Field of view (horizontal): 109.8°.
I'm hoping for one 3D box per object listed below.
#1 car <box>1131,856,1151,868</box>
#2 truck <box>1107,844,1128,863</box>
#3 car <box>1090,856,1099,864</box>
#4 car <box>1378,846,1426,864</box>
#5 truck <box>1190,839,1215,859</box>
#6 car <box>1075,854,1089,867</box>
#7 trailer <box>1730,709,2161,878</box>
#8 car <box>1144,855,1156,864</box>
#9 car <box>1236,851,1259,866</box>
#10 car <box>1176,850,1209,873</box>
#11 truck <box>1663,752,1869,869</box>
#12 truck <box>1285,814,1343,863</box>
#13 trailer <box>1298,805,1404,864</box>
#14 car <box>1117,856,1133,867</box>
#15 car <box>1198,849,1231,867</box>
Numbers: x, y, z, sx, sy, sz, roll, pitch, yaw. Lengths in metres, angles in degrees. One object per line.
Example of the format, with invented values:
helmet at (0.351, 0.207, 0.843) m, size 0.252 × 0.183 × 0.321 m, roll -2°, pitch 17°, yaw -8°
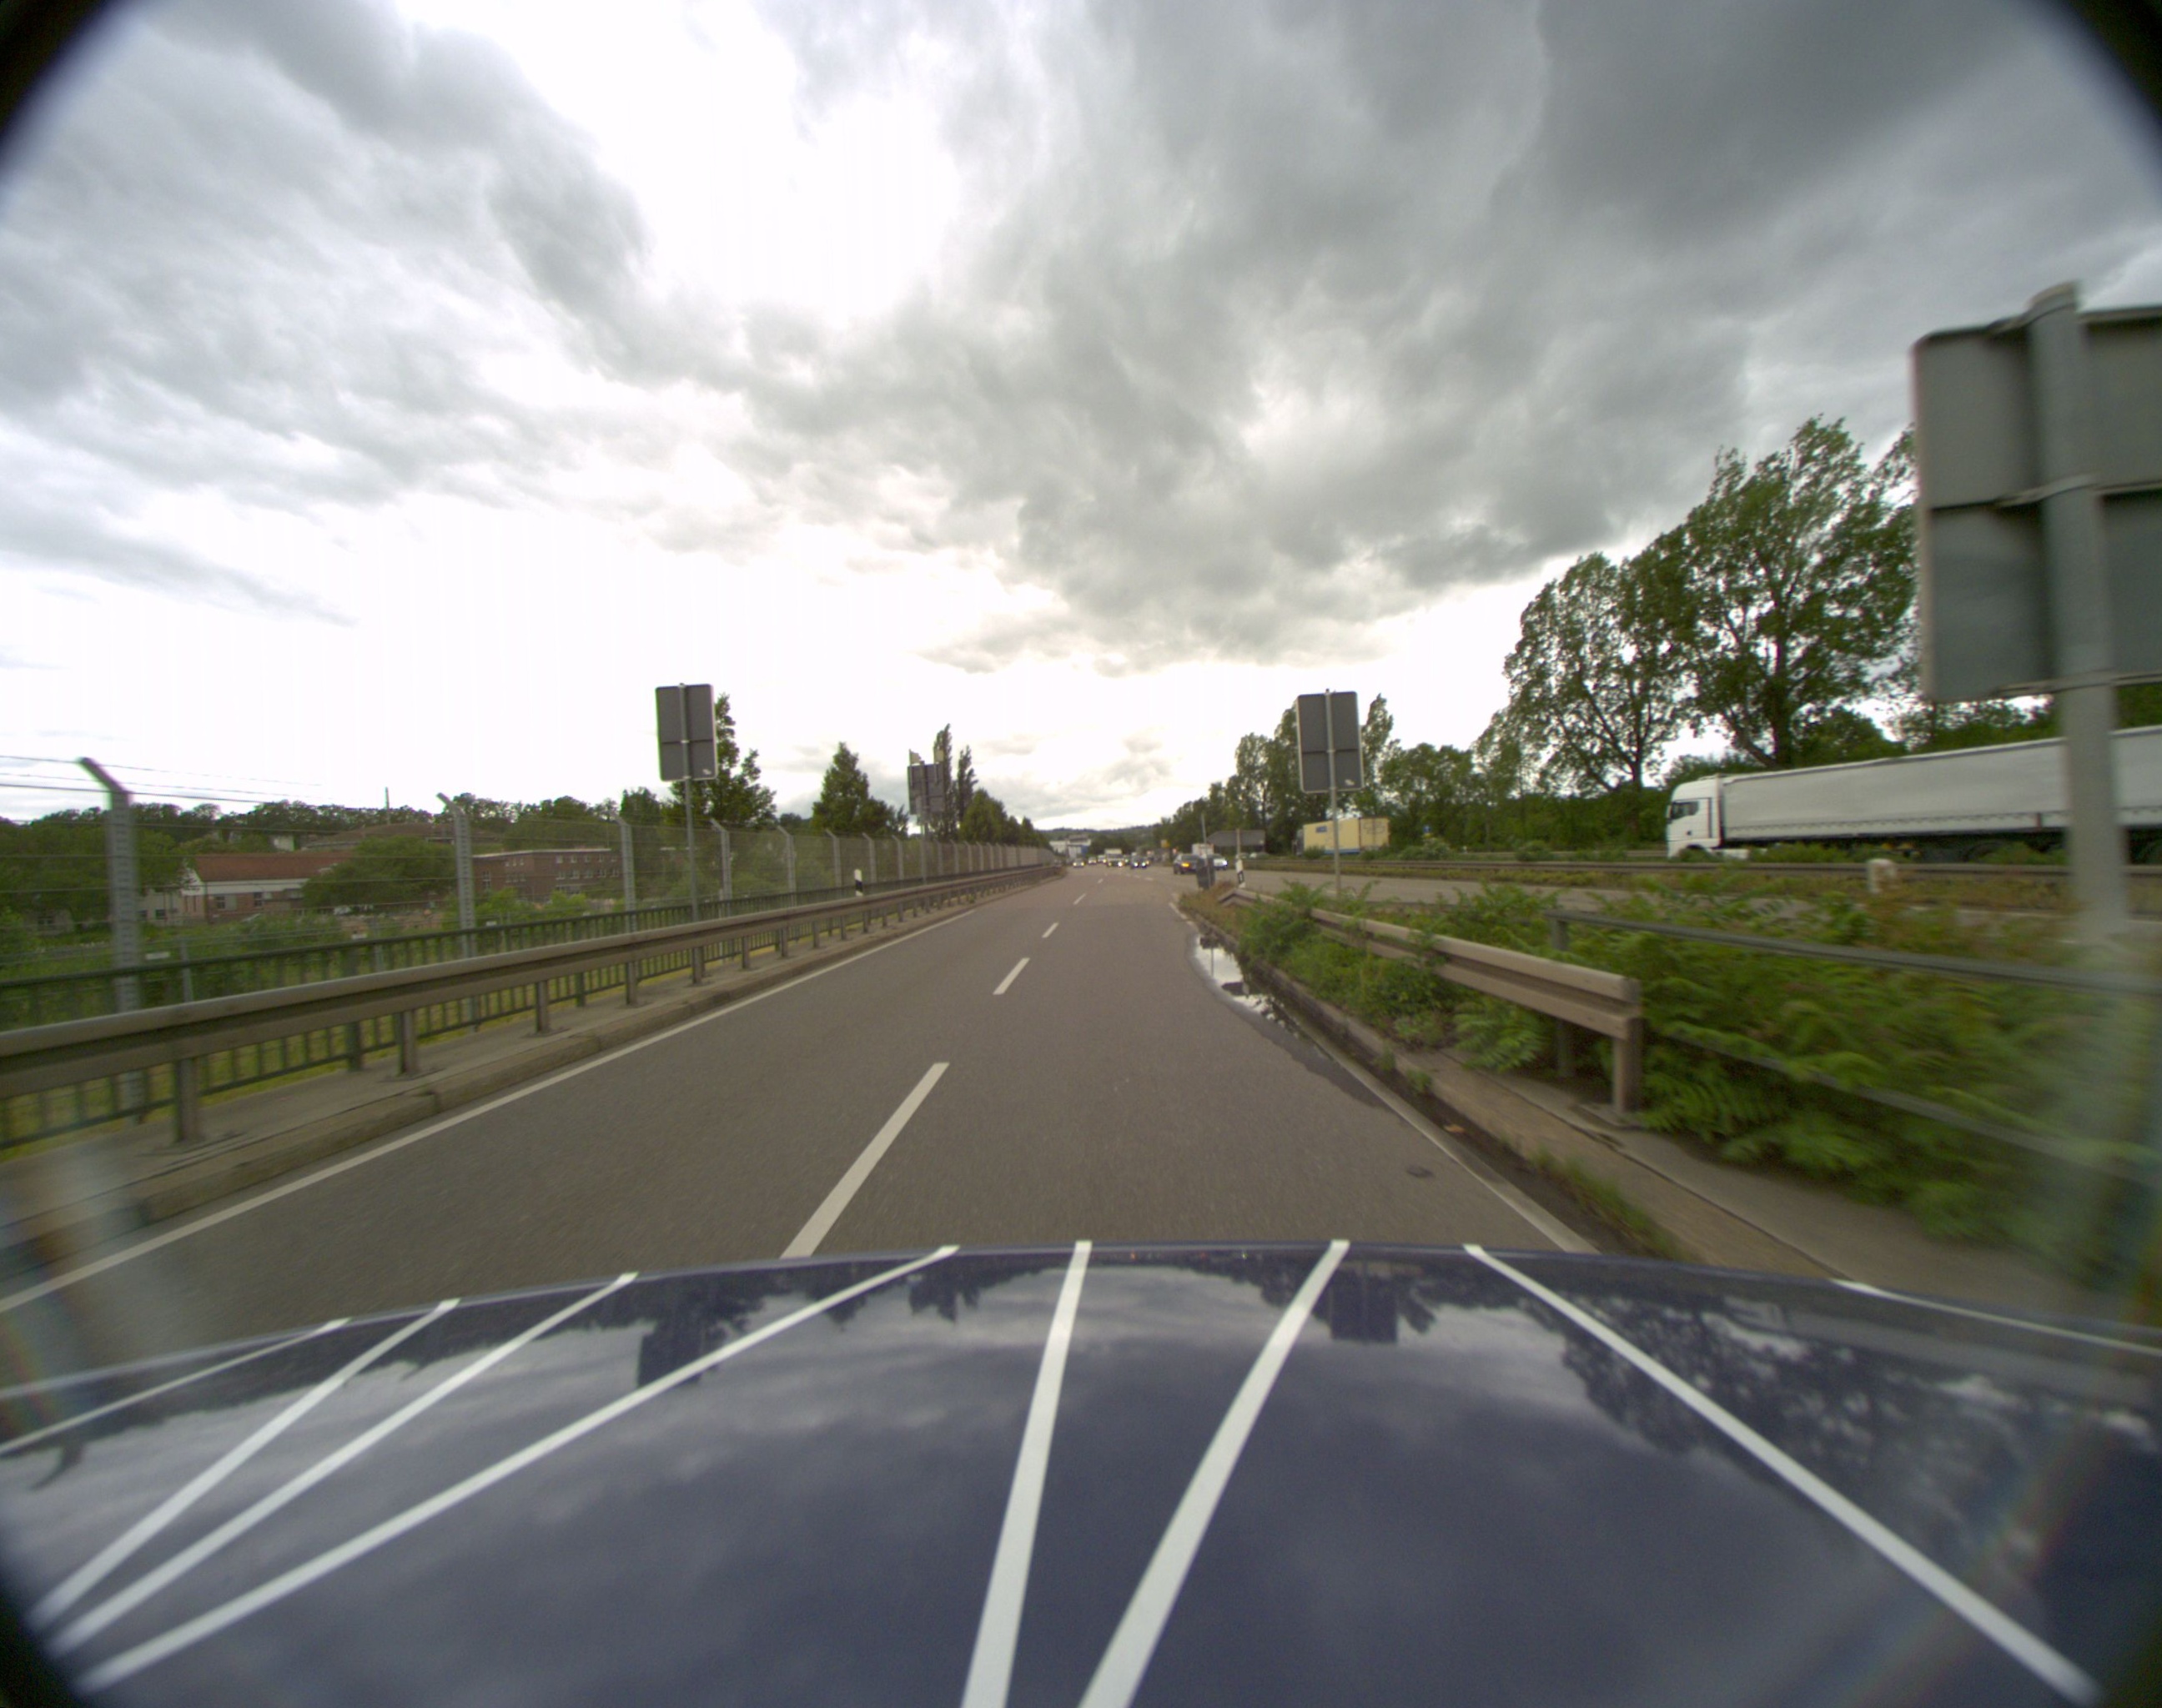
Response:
car at (7.031, 0.981, 89.513) m, size 1.729 × 1.319 × 3.647 m, roll -2°, pitch 0°, yaw -4°
truck at (6.361, -0.101, 133.402) m, size 3.040 × 3.140 × 7.567 m, roll -2°, pitch 1°, yaw -1°
car at (3.385, 1.479, 188.922) m, size 1.998 × 2.002 × 4.000 m, roll -2°, pitch 0°, yaw 0°
car at (21.958, 0.047, 52.148) m, size 1.656 × 0.926 × 3.614 m, roll -5°, pitch 2°, yaw -2°
truck at (23.263, -0.895, 145.360) m, size 2.991 × 3.622 × 6.334 m, roll -4°, pitch 0°, yaw -6°
car at (0.186, 1.140, 132.407) m, size 1.998 × 2.002 × 4.000 m, roll -4°, pitch 1°, yaw 3°
trailer at (26.284, -1.493, 21.909) m, size 2.798 × 3.926 × 13.508 m, roll -4°, pitch 0°, yaw -3°
car at (15.793, 1.267, 173.051) m, size 1.851 × 1.720 × 5.524 m, roll -4°, pitch 0°, yaw -3°
car at (20.089, 0.532, 91.841) m, size 1.784 × 1.796 × 3.571 m, roll -2°, pitch 0°, yaw -2°
car at (7.915, 0.528, 54.308) m, size 1.939 × 1.492 × 4.305 m, roll -1°, pitch -1°, yaw 3°
truck at (25.865, -1.517, 29.069) m, size 2.797 × 3.914 × 5.310 m, roll -4°, pitch 1°, yaw -4°
truck at (23.674, -1.506, 77.616) m, size 3.473 × 4.645 × 6.209 m, roll -3°, pitch 0°, yaw -3°
trailer at (24.146, -1.548, 69.415) m, size 3.473 × 4.645 × 14.778 m, roll -3°, pitch 0°, yaw -3°
car at (8.195, 1.368, 141.802) m, size 2.100 × 2.002 × 5.336 m, roll -2°, pitch 1°, yaw -5°
car at (11.508, 0.358, 65.685) m, size 1.859 × 1.491 × 3.999 m, roll -2°, pitch 0°, yaw -3°
